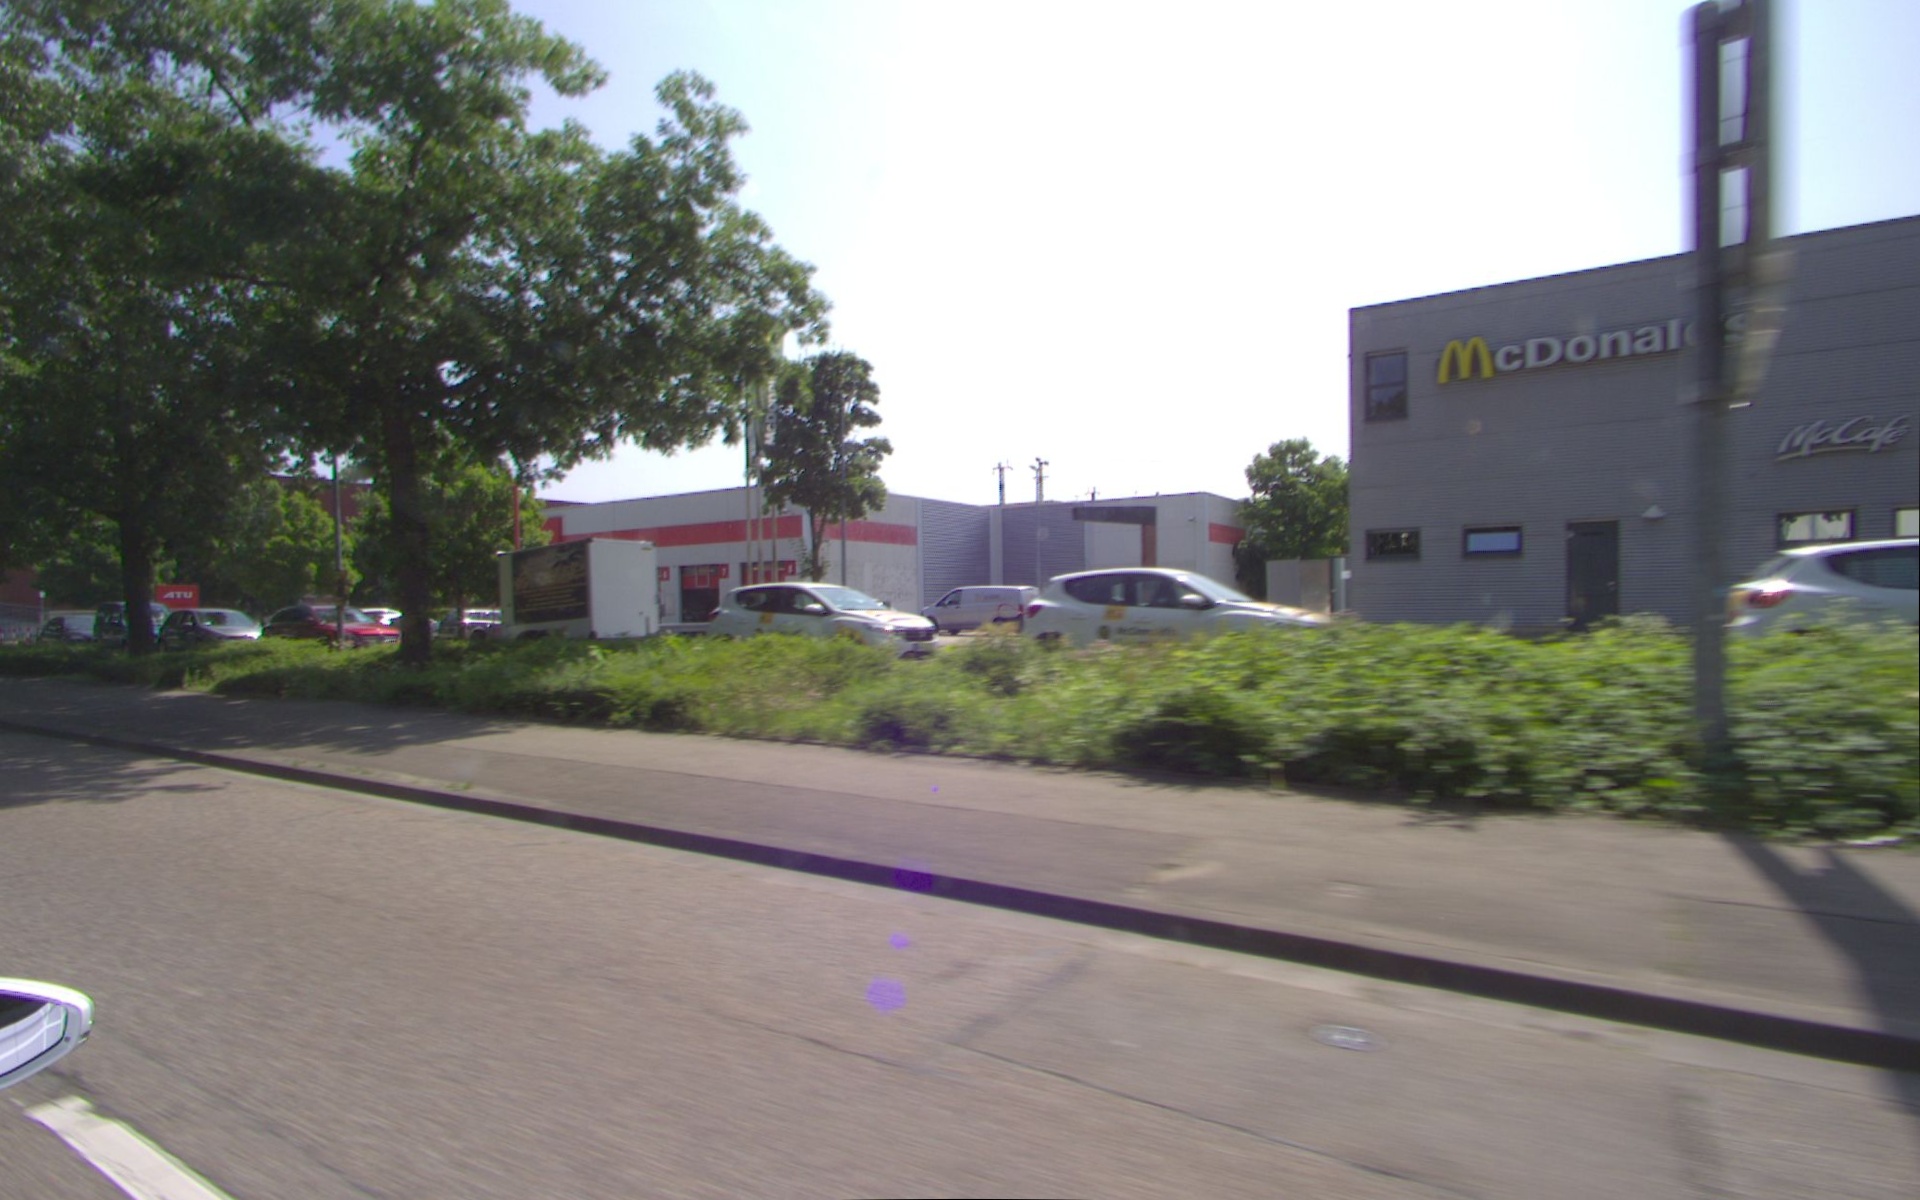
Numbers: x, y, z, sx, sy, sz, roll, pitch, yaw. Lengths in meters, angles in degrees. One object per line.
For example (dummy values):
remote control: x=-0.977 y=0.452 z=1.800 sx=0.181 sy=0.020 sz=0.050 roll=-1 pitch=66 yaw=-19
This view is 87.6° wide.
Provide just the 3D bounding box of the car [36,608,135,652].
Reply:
car: x=-30.808 y=1.048 z=35.225 sx=4.594 sy=1.443 sz=1.695 roll=-2 pitch=-1 yaw=37

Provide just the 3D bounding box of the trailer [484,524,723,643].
trailer: x=-7.178 y=-0.252 z=19.853 sx=5.411 sy=2.082 sz=1.695 roll=-1 pitch=0 yaw=36

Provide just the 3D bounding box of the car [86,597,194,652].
car: x=-26.250 y=0.799 z=32.022 sx=3.853 sy=1.659 sz=1.696 roll=-2 pitch=-1 yaw=35

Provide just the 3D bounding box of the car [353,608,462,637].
car: x=-25.165 y=1.024 z=45.743 sx=1.882 sy=1.237 sz=3.979 roll=-1 pitch=-2 yaw=33

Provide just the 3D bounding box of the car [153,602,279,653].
car: x=-21.693 y=0.782 z=29.172 sx=3.850 sy=1.398 sz=1.697 roll=-1 pitch=0 yaw=33

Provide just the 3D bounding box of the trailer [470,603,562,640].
trailer: x=-20.007 y=0.939 z=45.228 sx=1.393 sy=1.603 sz=3.594 roll=0 pitch=0 yaw=35

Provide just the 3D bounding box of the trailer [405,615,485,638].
trailer: x=-21.716 y=1.140 z=42.270 sx=1.361 sy=0.922 sz=2.707 roll=-1 pitch=-2 yaw=33

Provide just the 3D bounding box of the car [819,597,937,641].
car: x=-2.720 y=0.620 z=32.939 sx=3.724 sy=1.357 sz=1.579 roll=-1 pitch=0 yaw=34

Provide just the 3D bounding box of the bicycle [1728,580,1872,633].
bicycle: x=16.162 y=0.128 z=19.346 sx=2.073 sy=0.993 sz=0.587 roll=-1 pitch=1 yaw=35

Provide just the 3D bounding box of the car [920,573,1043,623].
car: x=0.794 y=-0.042 z=38.867 sx=4.566 sy=1.829 sz=1.705 roll=-1 pitch=0 yaw=33

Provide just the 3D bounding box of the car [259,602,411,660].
car: x=-16.263 y=0.775 z=26.001 sx=4.262 sy=1.398 sz=1.697 roll=-1 pitch=0 yaw=33

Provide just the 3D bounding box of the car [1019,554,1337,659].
car: x=2.750 y=0.129 z=12.878 sx=3.686 sy=1.173 sz=1.590 roll=-2 pitch=-1 yaw=33

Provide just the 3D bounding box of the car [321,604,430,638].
car: x=-27.310 y=0.958 z=46.902 sx=1.914 sy=1.461 sz=3.979 roll=-1 pitch=0 yaw=31

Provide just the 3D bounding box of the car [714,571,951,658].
car: x=-2.088 y=0.265 z=16.125 sx=3.578 sy=1.269 sz=1.616 roll=-2 pitch=-1 yaw=32

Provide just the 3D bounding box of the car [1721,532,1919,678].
car: x=9.316 y=0.040 z=9.058 sx=3.817 sy=1.269 sz=1.614 roll=-2 pitch=-2 yaw=37
